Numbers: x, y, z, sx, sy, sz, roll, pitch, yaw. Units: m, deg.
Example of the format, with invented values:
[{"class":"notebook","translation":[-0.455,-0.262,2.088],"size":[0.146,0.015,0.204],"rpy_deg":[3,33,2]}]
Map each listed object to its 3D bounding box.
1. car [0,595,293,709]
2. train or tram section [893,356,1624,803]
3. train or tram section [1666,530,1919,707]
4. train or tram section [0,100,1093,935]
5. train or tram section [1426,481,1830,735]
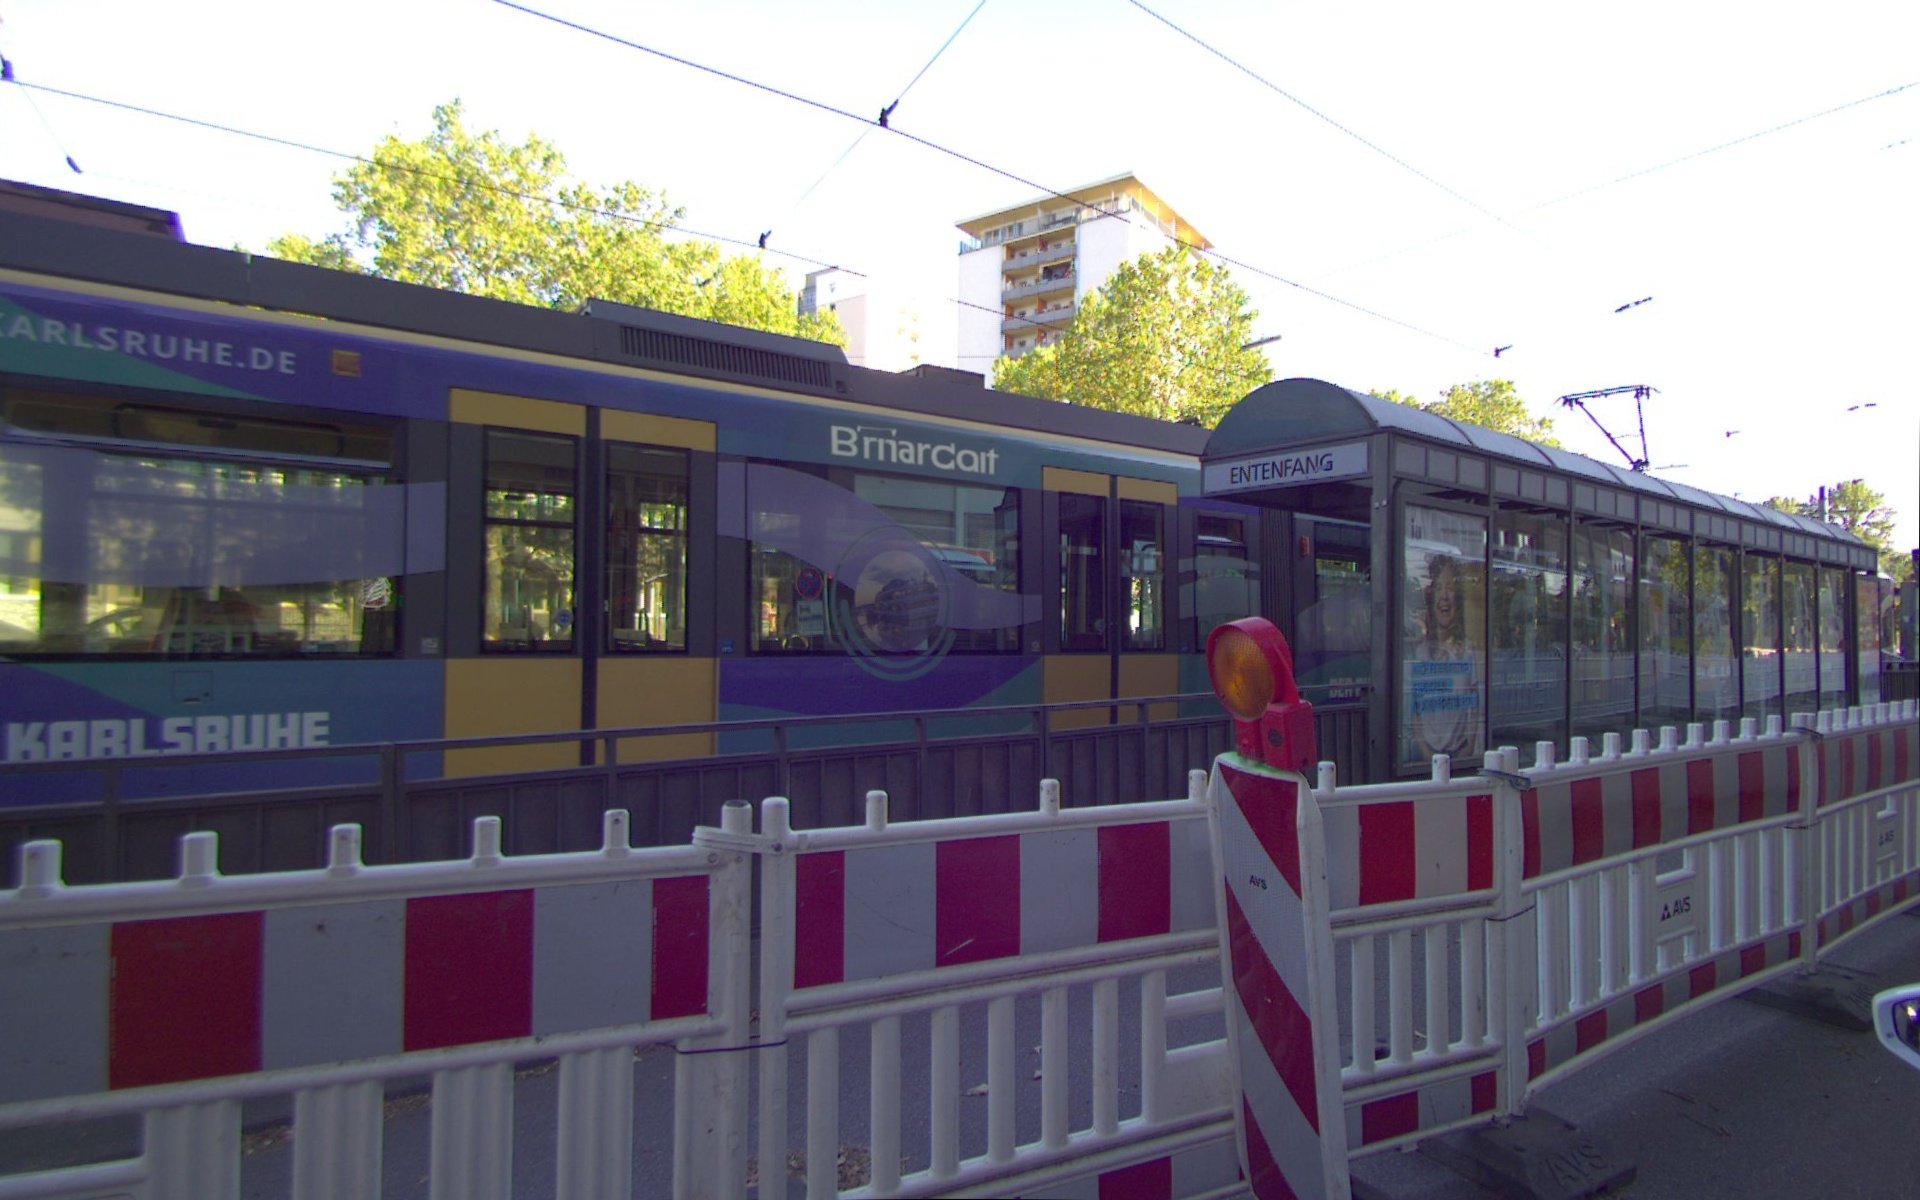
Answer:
[{"class":"car","translation":[-13.916,0.818,16.762],"size":[4.544,1.689,1.881],"rpy_deg":[2,0,-37]},{"class":"train or tram section","translation":[4.295,-0.018,12.133],"size":[10.239,3.533,2.851],"rpy_deg":[2,-1,-36]},{"class":"train or tram section","translation":[20.638,0.519,24.370],"size":[10.243,3.533,2.796],"rpy_deg":[2,-1,-37]},{"class":"train or tram section","translation":[-3.918,-0.308,6.098],"size":[10.238,3.533,2.816],"rpy_deg":[2,-1,-36]},{"class":"train or tram section","translation":[12.478,0.265,18.165],"size":[10.241,3.533,2.815],"rpy_deg":[2,-1,-37]}]
